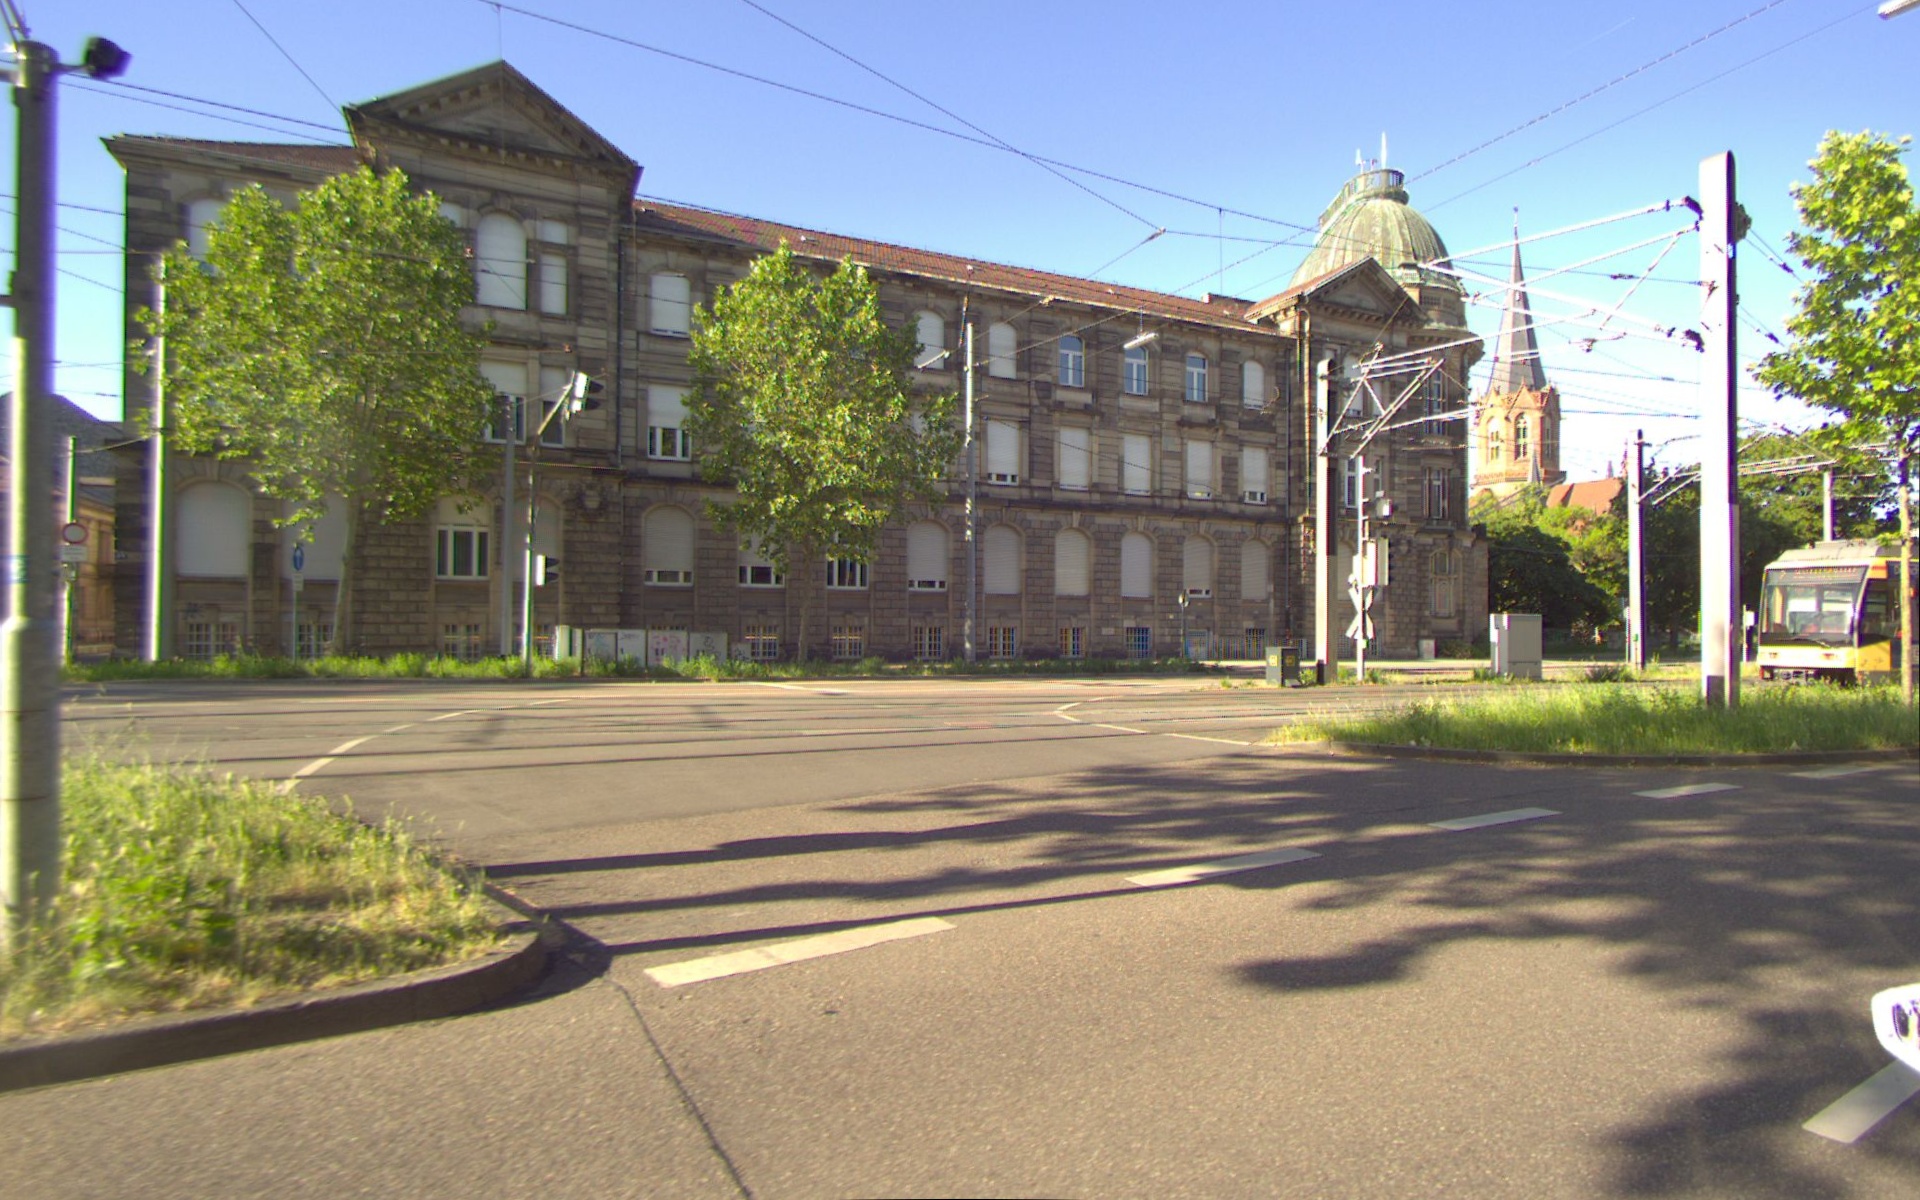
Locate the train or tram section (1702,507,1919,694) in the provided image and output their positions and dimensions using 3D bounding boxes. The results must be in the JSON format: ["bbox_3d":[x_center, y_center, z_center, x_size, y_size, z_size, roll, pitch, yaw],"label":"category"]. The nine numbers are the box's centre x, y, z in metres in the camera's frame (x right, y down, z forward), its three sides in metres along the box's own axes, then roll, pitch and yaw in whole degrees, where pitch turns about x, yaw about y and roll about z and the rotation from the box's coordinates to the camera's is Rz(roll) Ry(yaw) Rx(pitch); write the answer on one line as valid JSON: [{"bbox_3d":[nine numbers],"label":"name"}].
[{"bbox_3d":[24.382,0.167,25.069,14.077,3.863,2.920,2,0,-25],"label":"train or tram section"}]
